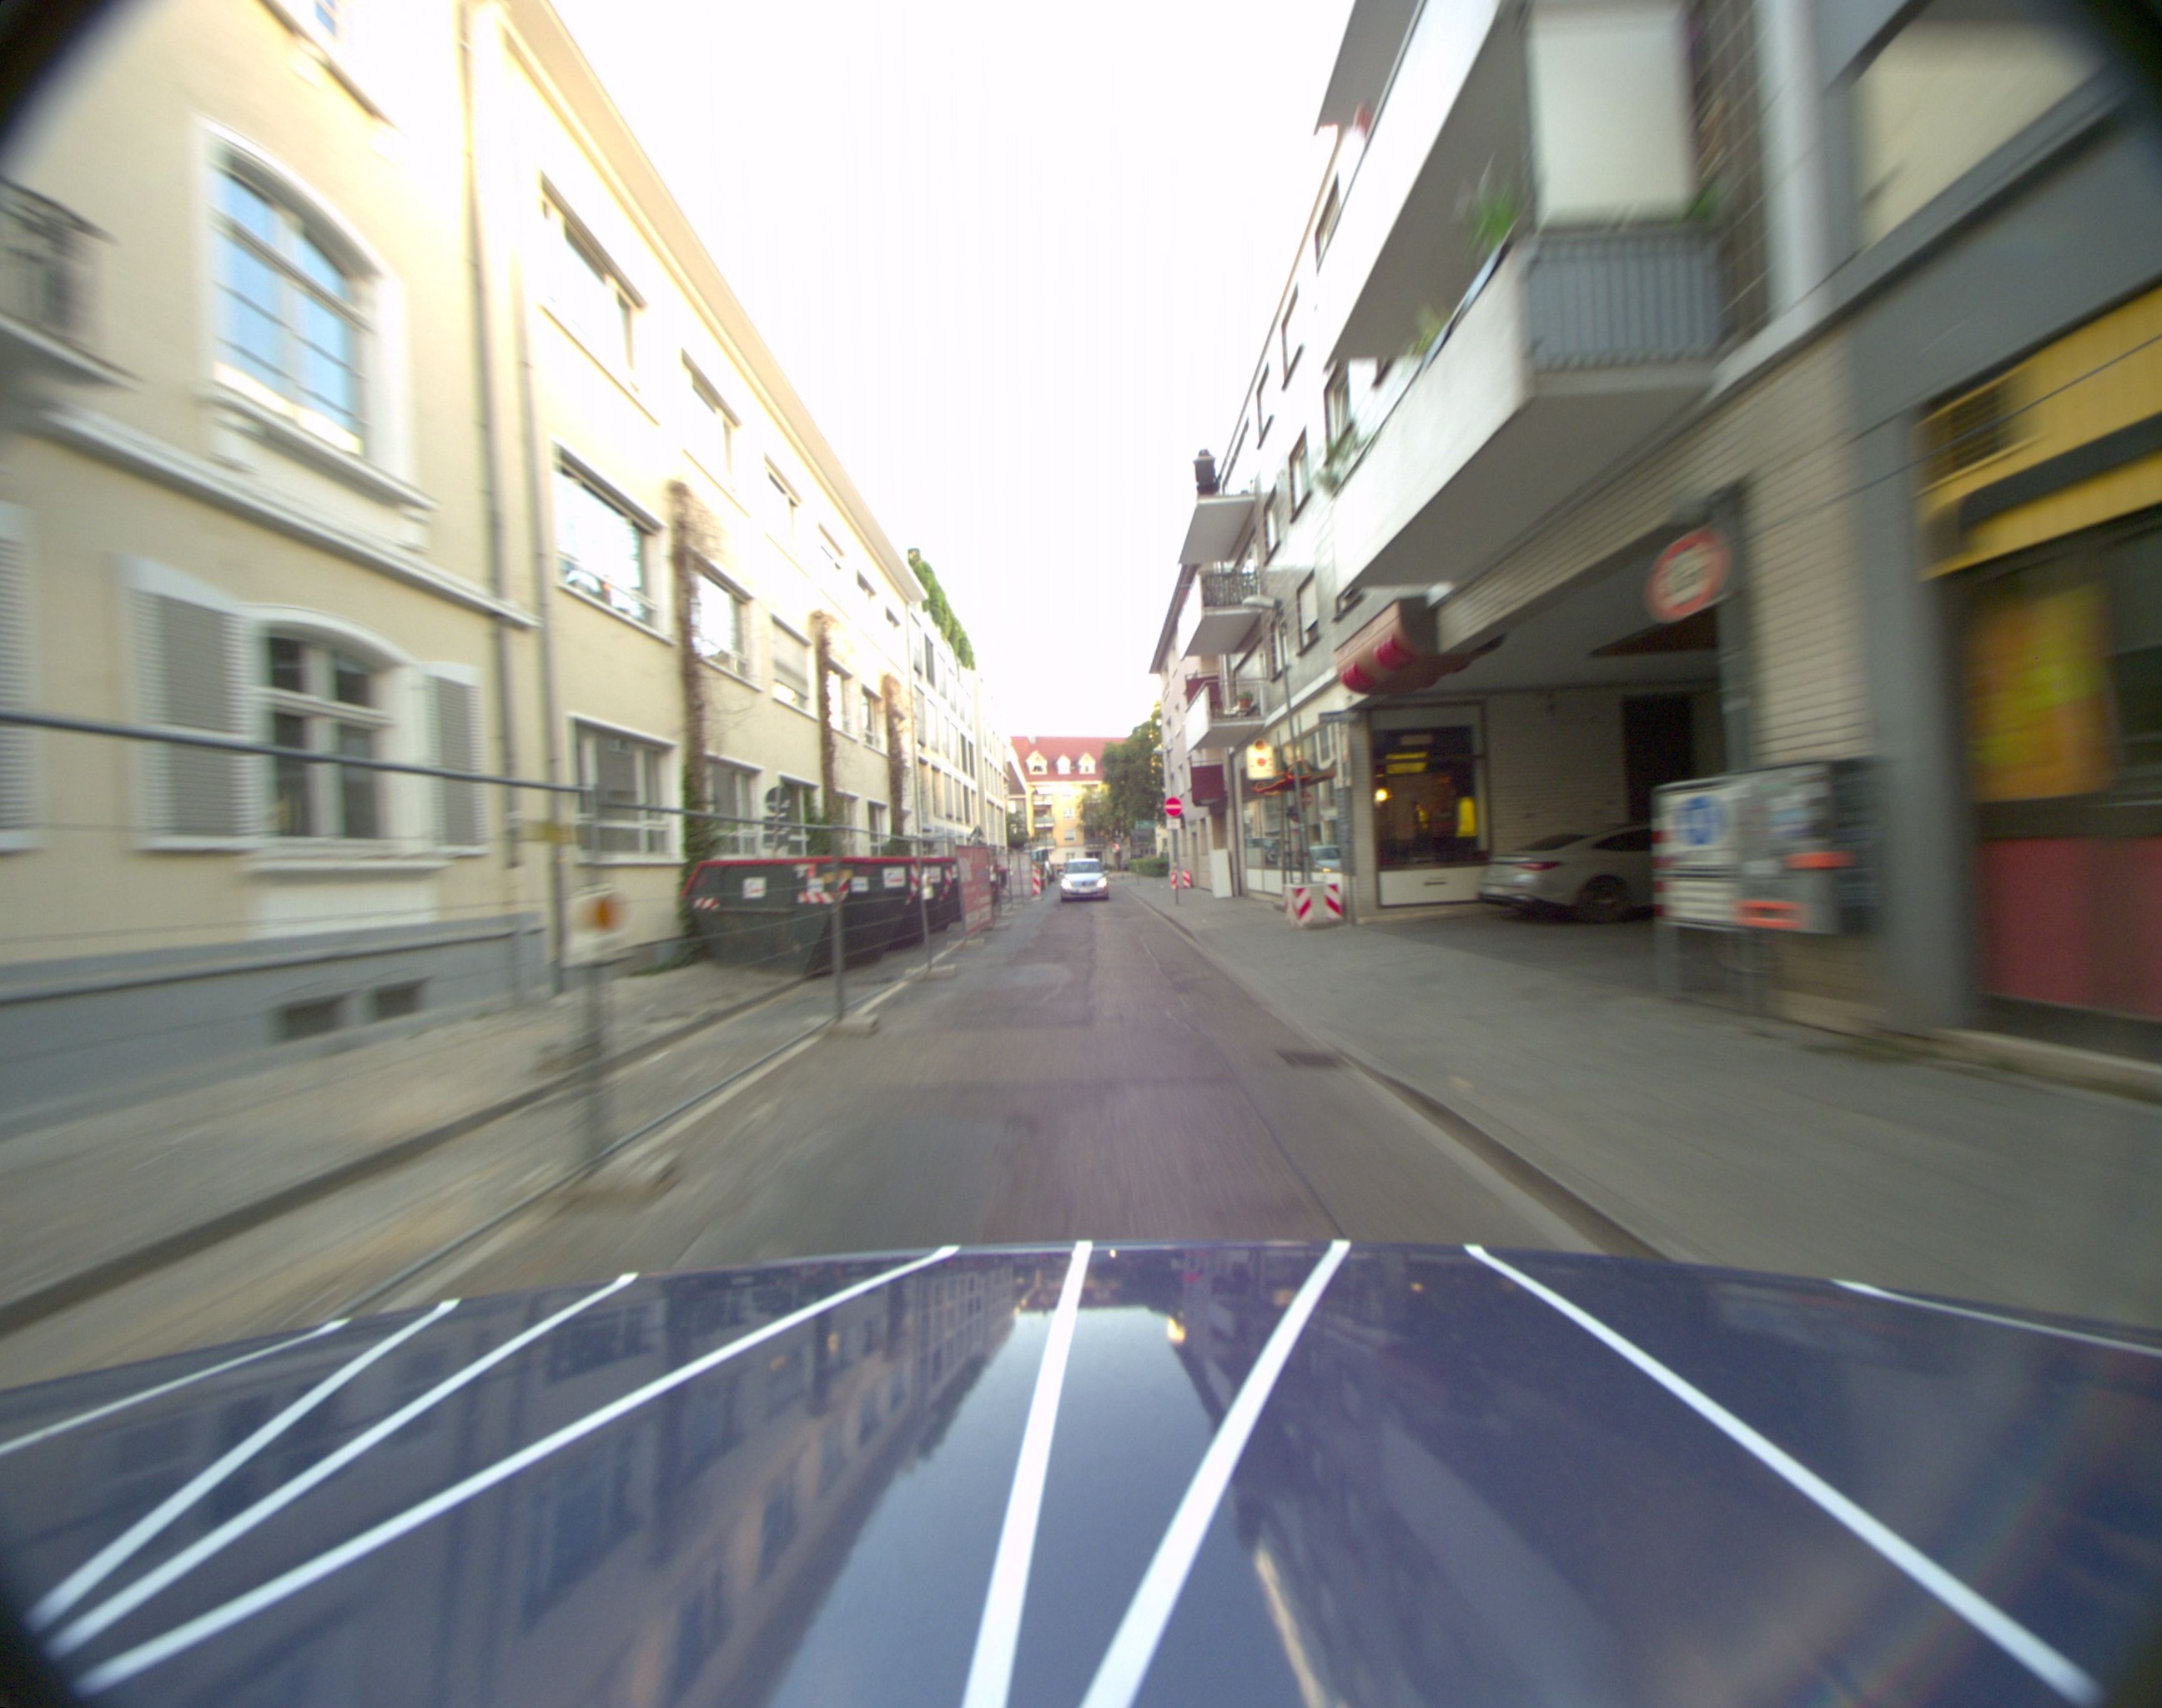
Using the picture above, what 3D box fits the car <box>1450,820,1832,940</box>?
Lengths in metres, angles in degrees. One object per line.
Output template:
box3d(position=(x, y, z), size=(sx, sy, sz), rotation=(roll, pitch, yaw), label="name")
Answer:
box3d(position=(8.348, 0.369, 11.665), size=(4.326, 1.413, 2.020), rotation=(-4, 0, -1), label="car")

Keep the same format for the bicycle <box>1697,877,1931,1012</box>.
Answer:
box3d(position=(5.950, 0.682, 6.288), size=(0.378, 0.955, 1.502), rotation=(-3, -2, -2), label="bicycle")

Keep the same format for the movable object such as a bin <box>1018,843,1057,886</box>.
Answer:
box3d(position=(-2.894, 0.732, 51.805), size=(2.021, 2.607, 5.752), rotation=(-5, -1, 1), label="movable object such as a bin")

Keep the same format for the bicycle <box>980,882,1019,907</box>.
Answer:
box3d(position=(-3.279, 1.636, 30.566), size=(1.803, 0.903, 0.460), rotation=(-5, -1, 44), label="bicycle")

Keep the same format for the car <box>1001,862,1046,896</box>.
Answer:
box3d(position=(-2.887, 1.213, 38.835), size=(1.792, 1.463, 4.446), rotation=(-5, 0, 0), label="car")

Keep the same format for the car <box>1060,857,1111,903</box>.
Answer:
box3d(position=(0.179, 0.984, 29.658), size=(1.804, 1.607, 4.274), rotation=(-2, -1, 0), label="car")

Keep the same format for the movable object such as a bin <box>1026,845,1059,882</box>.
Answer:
box3d(position=(-3.045, 0.746, 61.087), size=(2.021, 2.608, 5.751), rotation=(-5, 0, 1), label="movable object such as a bin")

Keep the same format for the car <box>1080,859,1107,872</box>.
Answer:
box3d(position=(1.547, 1.462, 94.845), size=(1.829, 1.460, 4.321), rotation=(-2, 1, -22), label="car")

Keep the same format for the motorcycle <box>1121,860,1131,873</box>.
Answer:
box3d(position=(4.929, 1.373, 83.678), size=(0.858, 1.345, 1.960), rotation=(-3, 0, 10), label="motorcycle")
